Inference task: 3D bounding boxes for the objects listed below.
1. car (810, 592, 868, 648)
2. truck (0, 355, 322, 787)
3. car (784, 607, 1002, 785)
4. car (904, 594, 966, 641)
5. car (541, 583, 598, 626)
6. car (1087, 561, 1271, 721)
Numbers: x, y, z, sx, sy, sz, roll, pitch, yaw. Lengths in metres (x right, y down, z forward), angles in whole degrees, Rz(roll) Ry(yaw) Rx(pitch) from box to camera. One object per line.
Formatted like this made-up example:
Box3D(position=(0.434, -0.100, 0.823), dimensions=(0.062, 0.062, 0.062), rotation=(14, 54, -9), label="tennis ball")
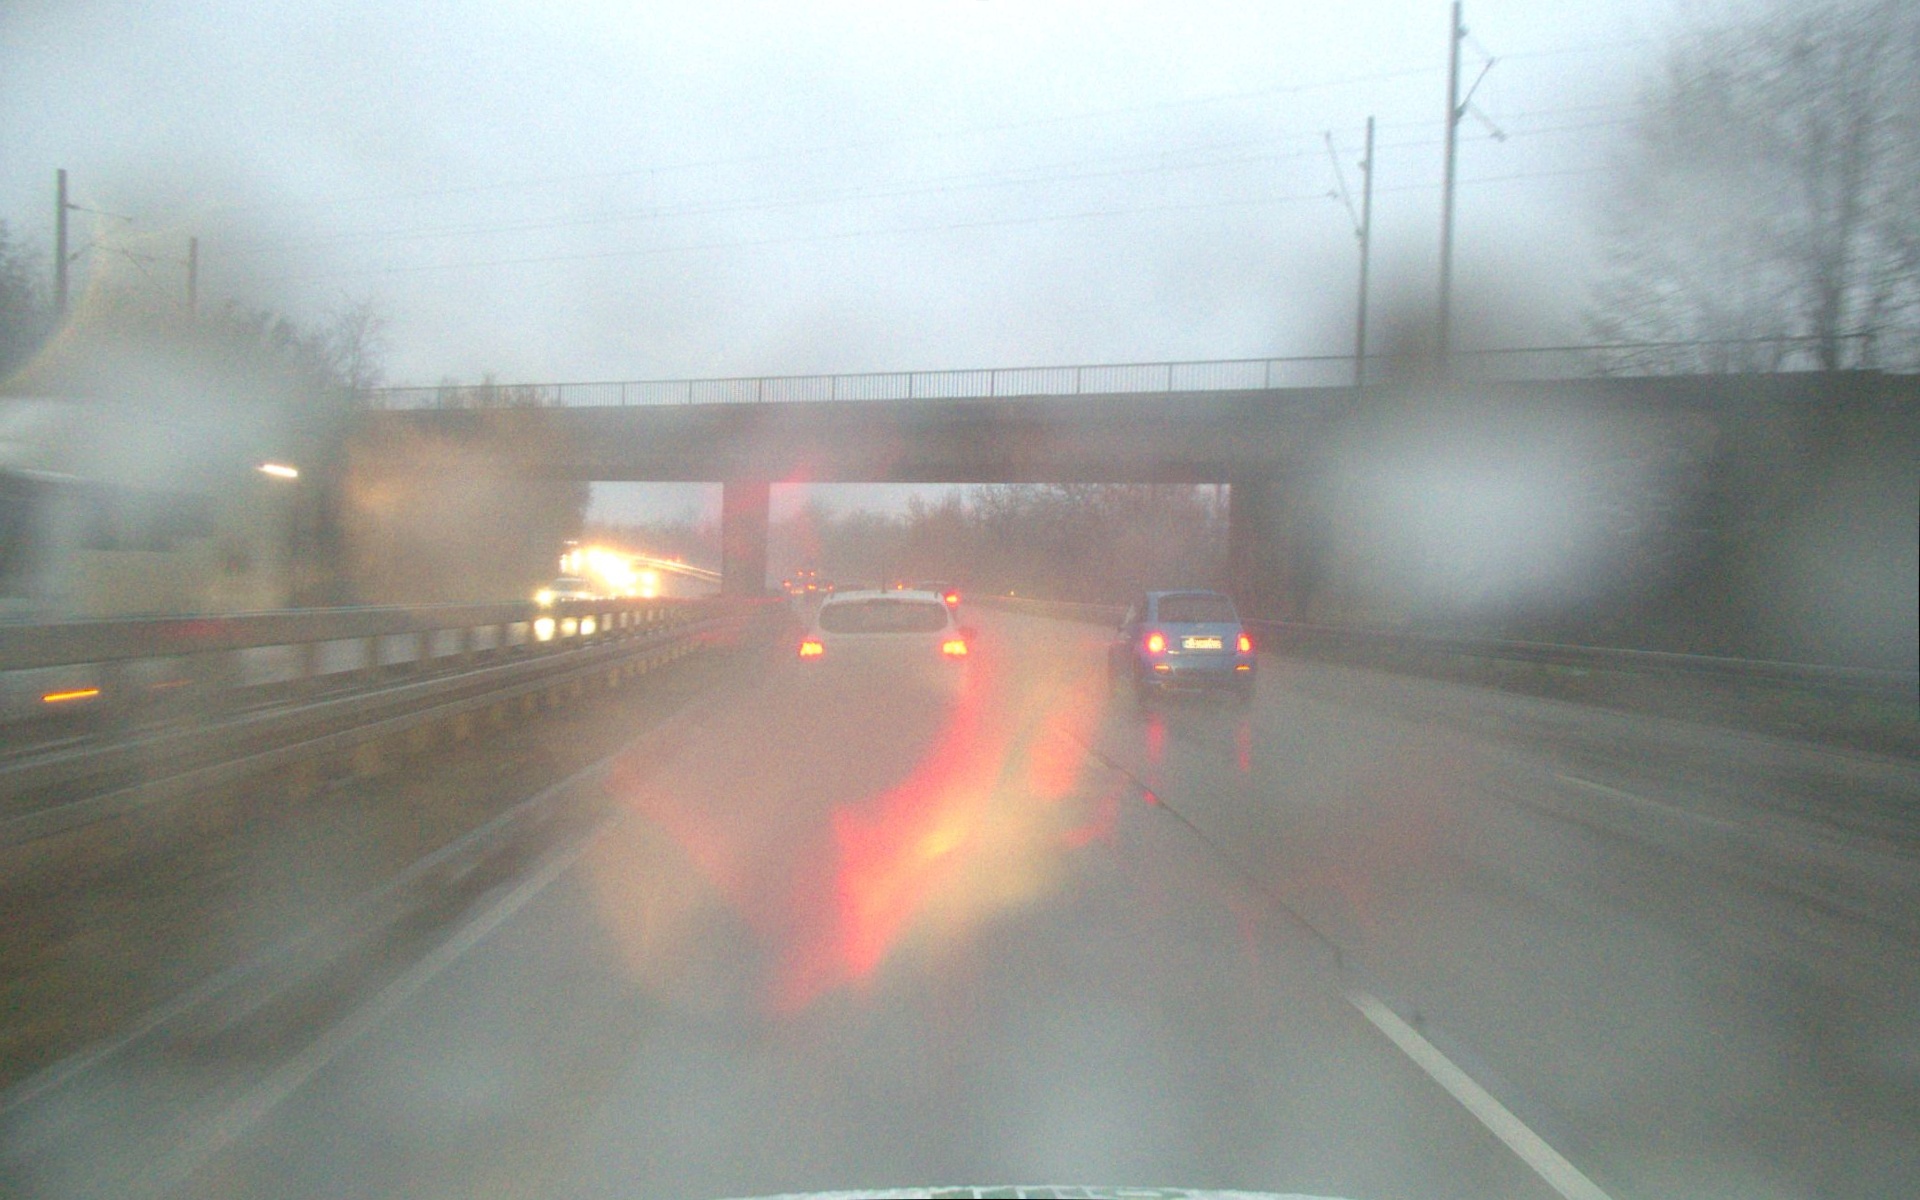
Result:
Box3D(position=(-4.684, 0.764, 63.447), dimensions=(1.956, 2.049, 3.993), rotation=(2, -1, -8), label="car")
Box3D(position=(-8.606, -0.202, 15.231), dimensions=(2.660, 3.216, 7.724), rotation=(1, -1, -2), label="truck")
Box3D(position=(-0.675, 0.920, 17.336), dimensions=(1.984, 1.602, 3.998), rotation=(1, -1, -2), label="car")
Box3D(position=(-1.034, 0.722, 66.450), dimensions=(1.897, 1.573, 3.765), rotation=(-4, -2, -9), label="car")
Box3D(position=(-15.867, 0.167, 67.356), dimensions=(1.551, 1.699, 4.292), rotation=(0, 0, -4), label="car")
Box3D(position=(3.031, 0.567, 23.681), dimensions=(1.894, 2.055, 3.770), rotation=(1, -1, -4), label="car")
